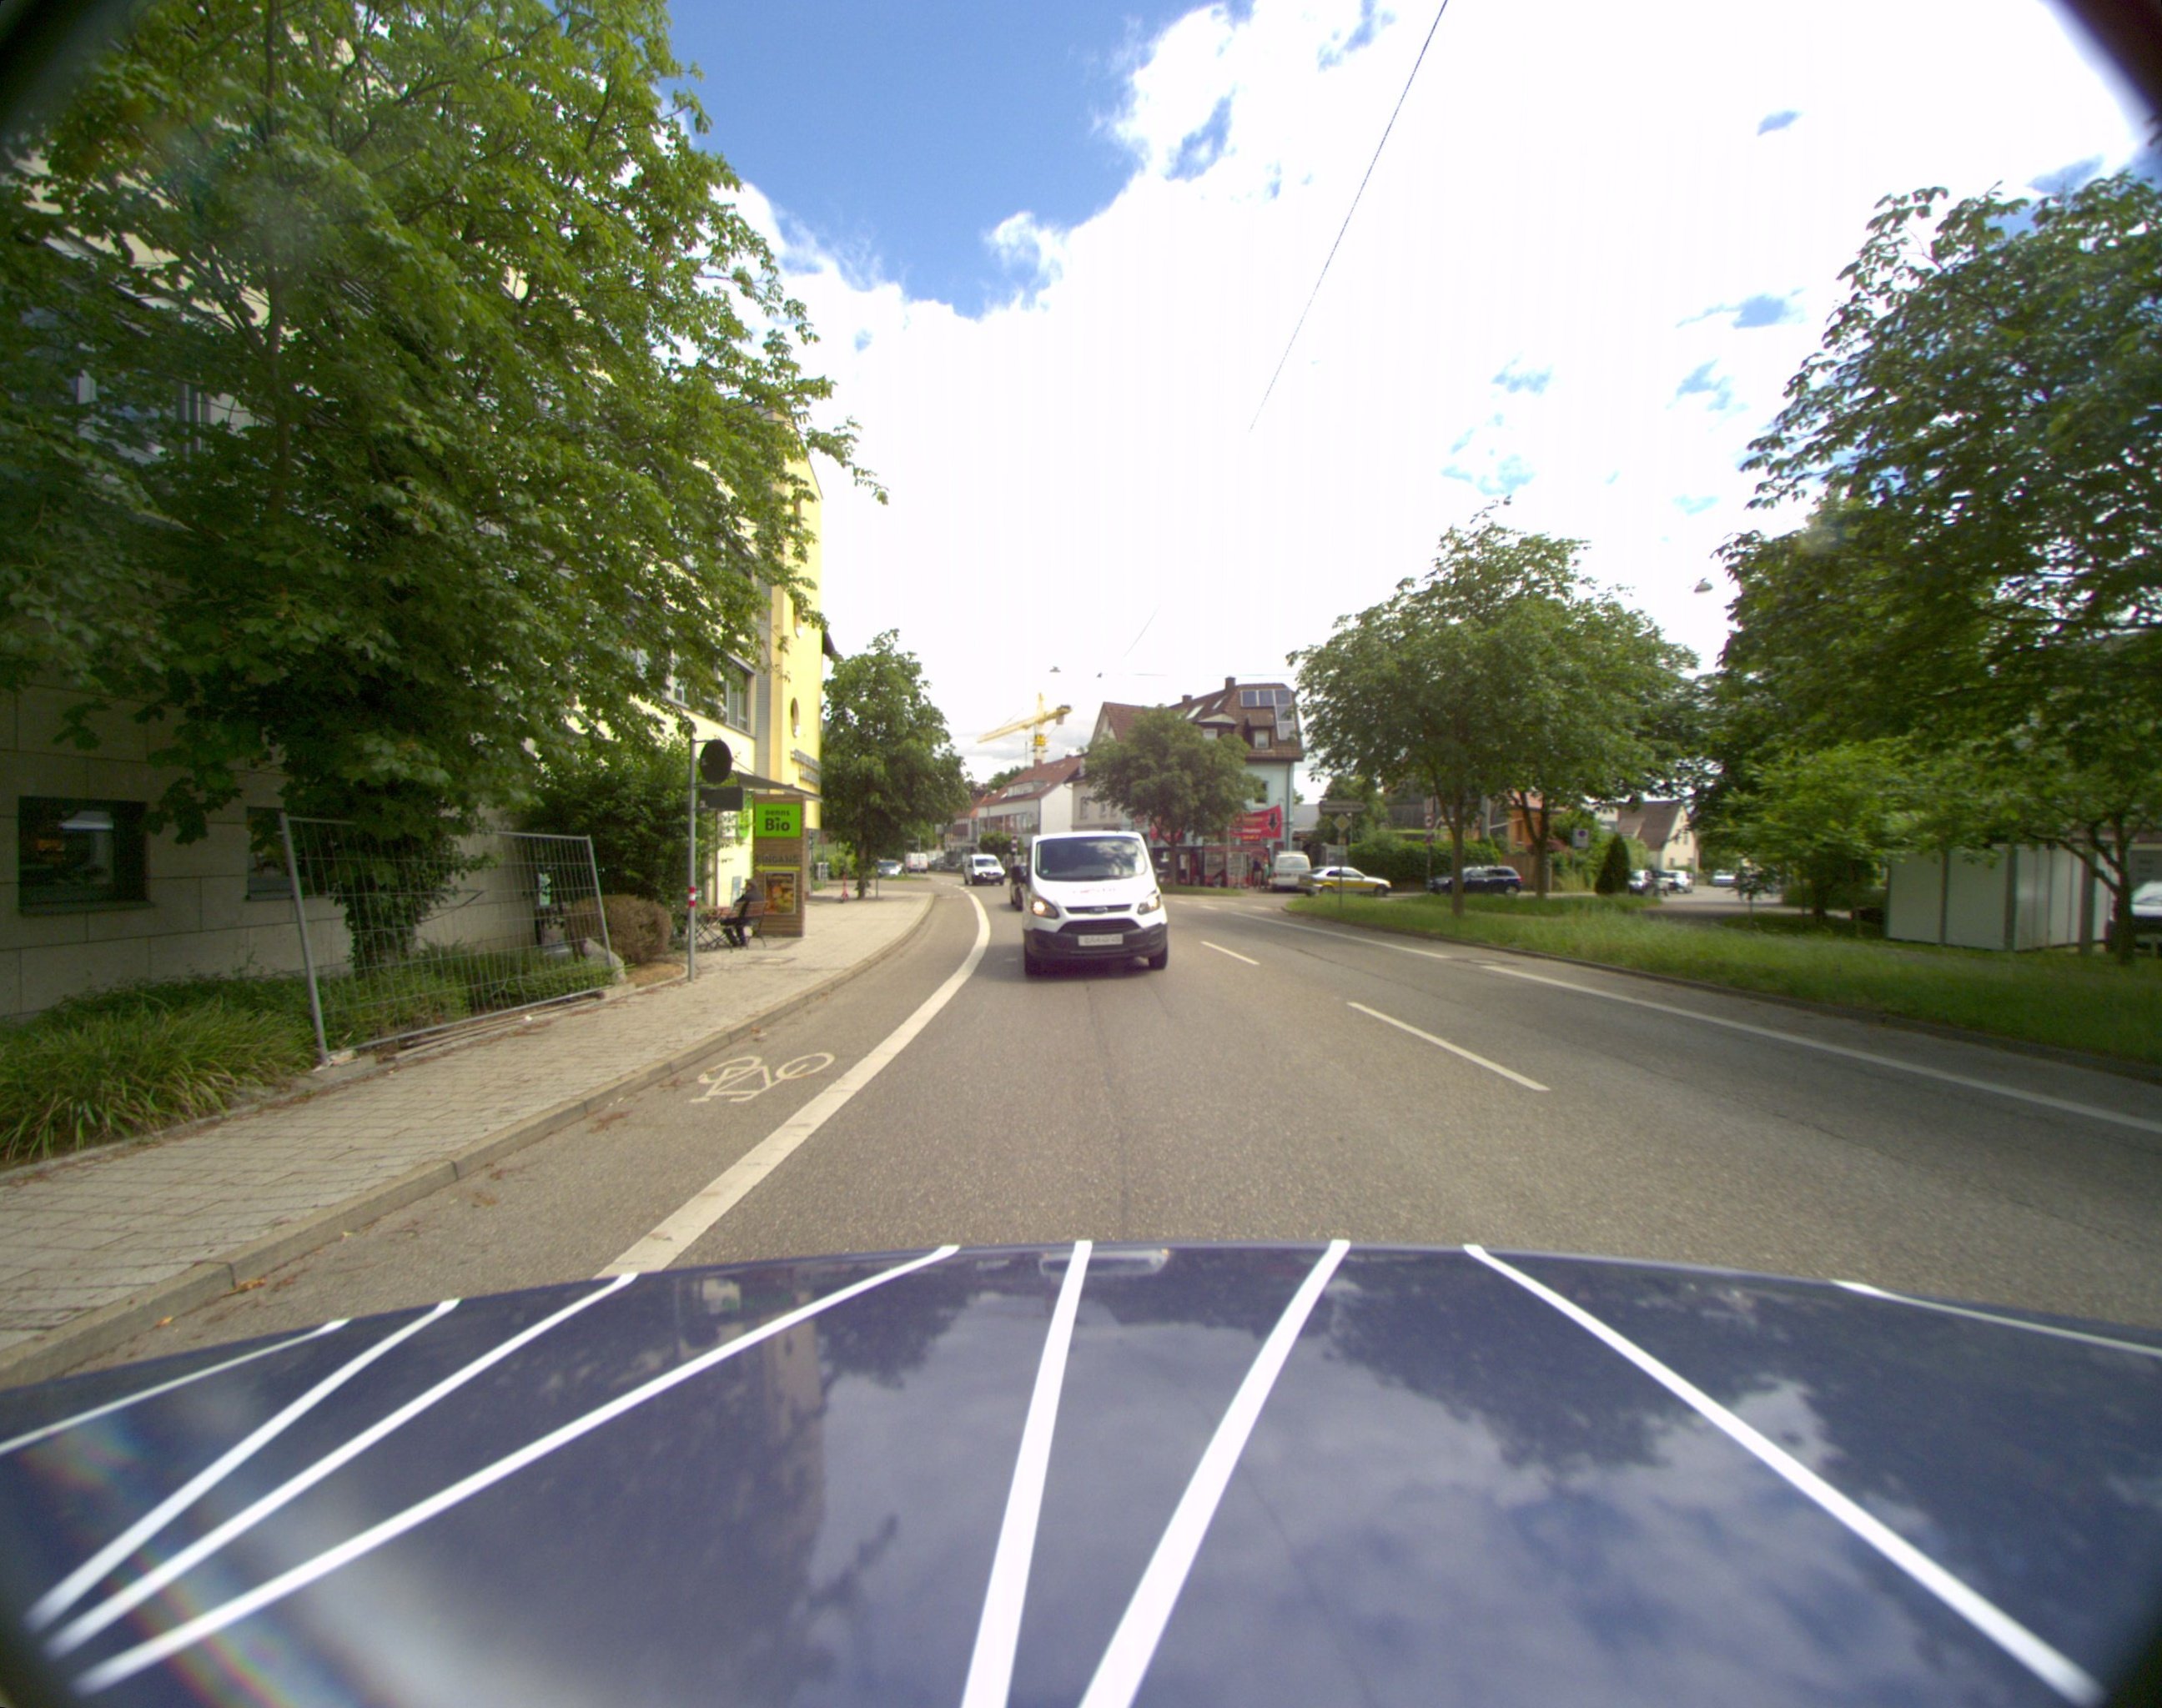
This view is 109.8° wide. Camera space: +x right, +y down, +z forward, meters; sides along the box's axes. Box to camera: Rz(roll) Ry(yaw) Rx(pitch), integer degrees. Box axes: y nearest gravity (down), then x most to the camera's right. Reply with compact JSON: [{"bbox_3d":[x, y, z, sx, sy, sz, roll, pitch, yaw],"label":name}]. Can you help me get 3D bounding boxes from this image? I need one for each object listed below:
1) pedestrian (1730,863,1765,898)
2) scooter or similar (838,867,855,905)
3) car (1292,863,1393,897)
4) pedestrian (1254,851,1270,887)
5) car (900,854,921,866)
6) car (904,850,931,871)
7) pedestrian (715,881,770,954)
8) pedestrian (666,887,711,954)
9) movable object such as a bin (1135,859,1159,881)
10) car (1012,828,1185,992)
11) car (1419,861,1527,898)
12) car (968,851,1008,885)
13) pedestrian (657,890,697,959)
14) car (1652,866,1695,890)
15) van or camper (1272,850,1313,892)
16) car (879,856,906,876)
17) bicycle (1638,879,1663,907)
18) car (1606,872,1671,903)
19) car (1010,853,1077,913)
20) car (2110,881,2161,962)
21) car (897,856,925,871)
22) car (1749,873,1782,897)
[{"bbox_3d":[30.172,1.212,34.408,0.736,1.584,0.814,0,-4,-9],"label":"pedestrian"},{"bbox_3d":[-8.633,1.144,27.981,0.382,1.309,1.457,-1,2,-10],"label":"scooter or similar"},{"bbox_3d":[11.965,1.175,34.857,4.031,1.405,1.813,0,2,-11],"label":"car"},{"bbox_3d":[9.801,0.810,41.200,0.626,1.885,0.563,-2,2,-35],"label":"pedestrian"},{"bbox_3d":[-22.153,0.784,98.640,1.778,1.417,4.100,2,0,-23],"label":"car"},{"bbox_3d":[-18.988,0.764,88.114,2.073,2.339,5.172,3,-1,-23],"label":"car"},{"bbox_3d":[-6.296,1.170,14.147,0.690,1.309,0.579,0,2,10],"label":"pedestrian"},{"bbox_3d":[-7.434,1.245,14.401,0.578,1.197,0.502,-1,2,-6],"label":"pedestrian"},{"bbox_3d":[4.271,1.019,49.154,1.024,1.347,1.244,-1,2,-25],"label":"movable object such as a bin"},{"bbox_3d":[-0.001,0.714,12.189,2.108,1.982,5.227,-2,0,-5],"label":"car"},{"bbox_3d":[17.799,1.127,34.612,4.001,1.540,1.814,0,3,-6],"label":"car"},{"bbox_3d":[-5.556,0.800,45.165,1.967,1.797,4.423,-1,2,-12],"label":"car"},{"bbox_3d":[-7.246,1.254,13.654,0.523,1.175,0.500,-1,2,-17],"label":"pedestrian"},{"bbox_3d":[37.863,1.504,48.513,3.785,1.315,1.589,-2,3,-43],"label":"car"},{"bbox_3d":[10.845,0.829,39.191,1.787,1.982,4.383,1,1,12],"label":"van or camper"},{"bbox_3d":[-16.607,1.032,66.709,1.697,1.656,4.454,0,-1,-22],"label":"car"},{"bbox_3d":[20.432,1.368,27.225,0.462,0.855,2.230,1,2,43],"label":"bicycle"},{"bbox_3d":[28.616,1.671,38.983,3.784,1.315,1.589,-1,3,-36],"label":"car"},{"bbox_3d":[-1.316,0.861,24.699,1.810,1.619,4.683,-3,1,-7],"label":"car"},{"bbox_3d":[21.304,1.301,14.216,3.401,1.442,1.430,2,1,-19],"label":"car"},{"bbox_3d":[-18.259,1.033,81.912,1.942,1.656,4.463,0,-1,1],"label":"car"},{"bbox_3d":[51.838,2.294,57.509,3.635,1.549,1.589,-2,3,-45],"label":"car"}]
